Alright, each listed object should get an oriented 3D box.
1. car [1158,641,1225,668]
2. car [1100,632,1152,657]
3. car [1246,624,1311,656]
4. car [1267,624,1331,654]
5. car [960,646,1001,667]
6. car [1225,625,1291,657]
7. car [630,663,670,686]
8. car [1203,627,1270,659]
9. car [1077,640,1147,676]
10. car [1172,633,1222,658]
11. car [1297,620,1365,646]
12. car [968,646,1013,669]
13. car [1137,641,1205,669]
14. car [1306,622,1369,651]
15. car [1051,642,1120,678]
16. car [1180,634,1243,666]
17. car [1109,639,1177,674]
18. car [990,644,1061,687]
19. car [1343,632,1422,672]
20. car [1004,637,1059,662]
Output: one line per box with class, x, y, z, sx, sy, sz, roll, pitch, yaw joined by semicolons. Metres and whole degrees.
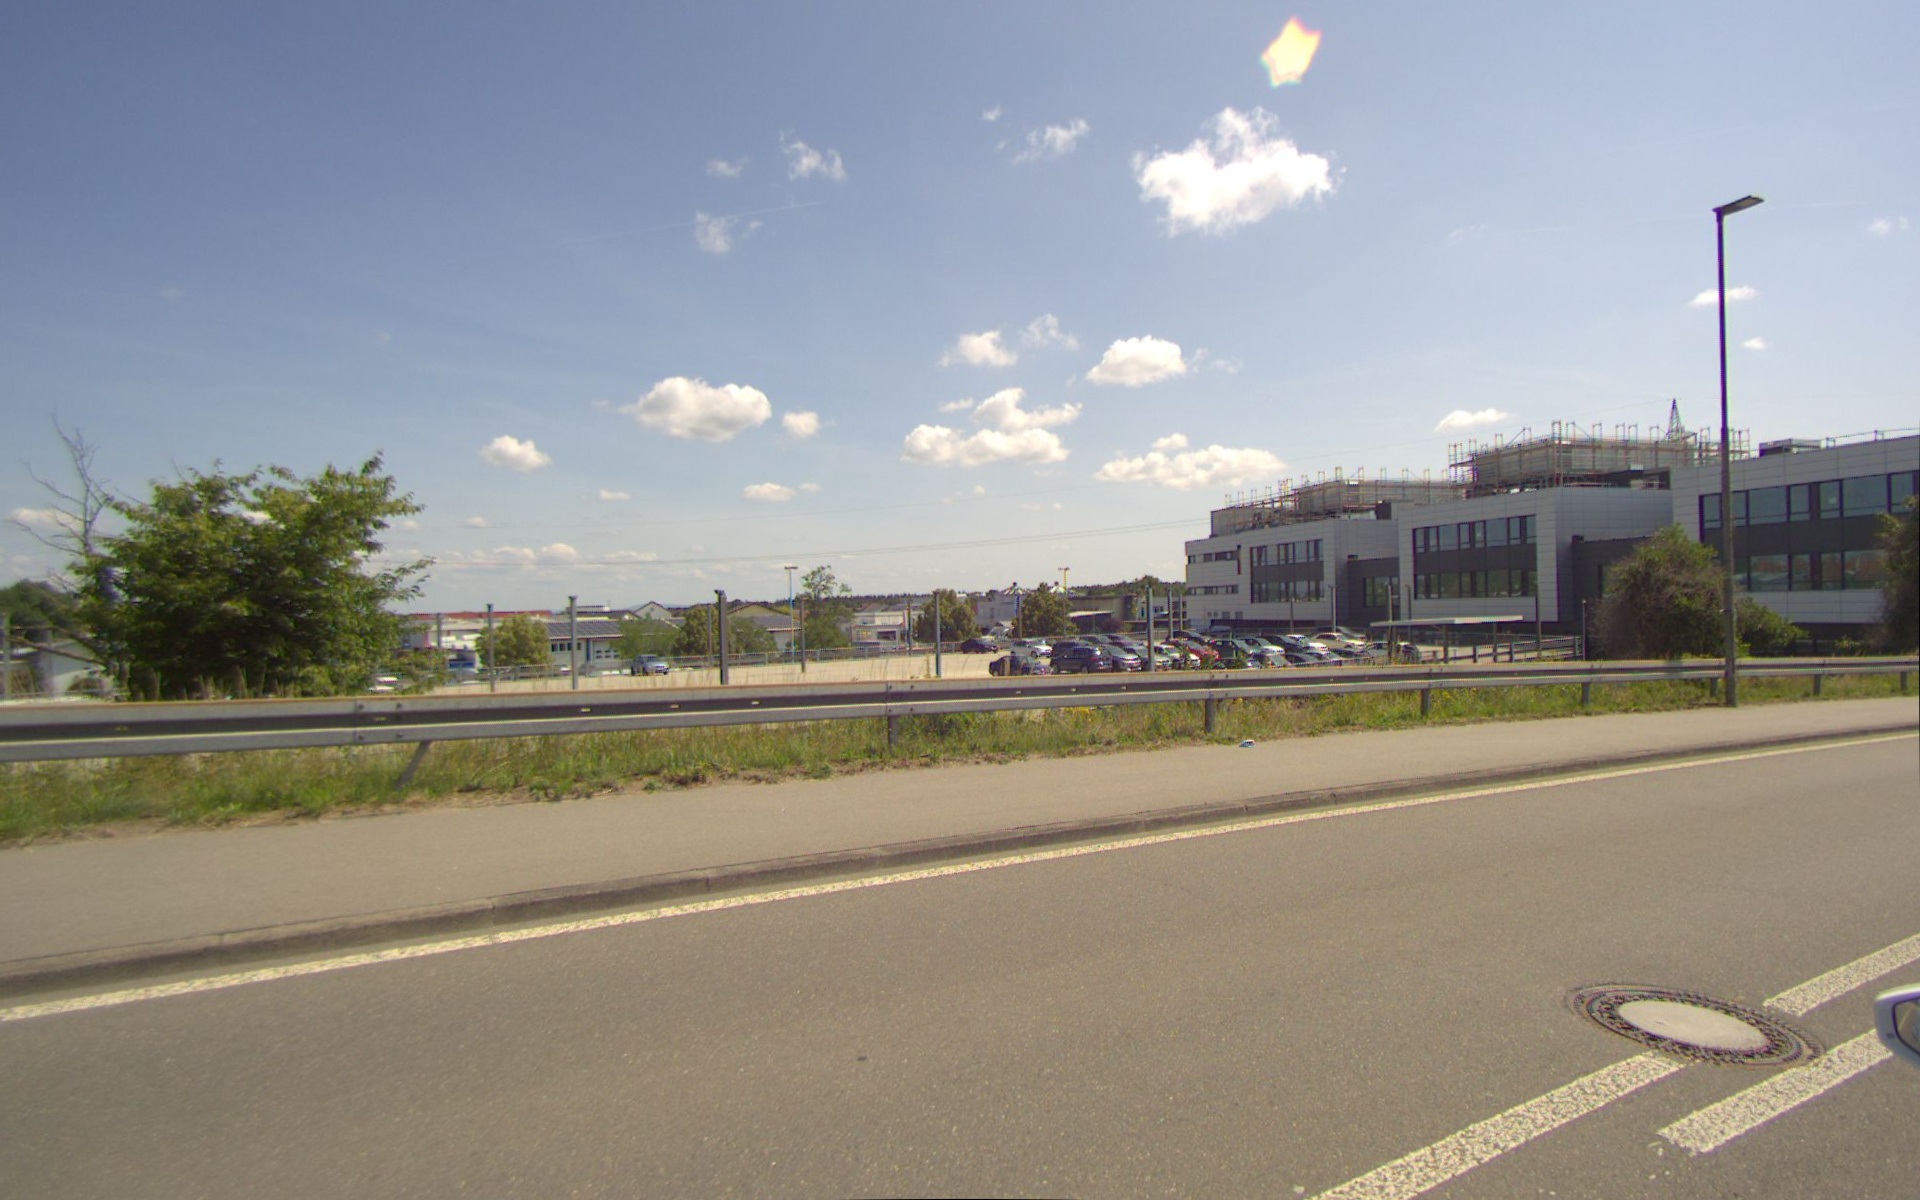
car;14.947;3.518;65.059;1.979;1.731;3.965;1;-3;-33
car;13.844;3.709;83.749;1.983;2.040;3.956;1;-2;-39
car;22.610;2.799;71.354;1.983;2.040;3.955;-2;1;-39
car;24.549;2.791;72.789;1.983;2.040;3.955;-2;1;-39
car;1.907;5.324;94.888;1.847;1.865;3.961;1;-2;-35
car;20.733;2.808;69.965;1.983;2.040;3.955;-2;1;-39
car;-23.036;5.511;74.639;1.677;1.409;3.773;-2;1;-36
car;18.797;2.895;68.365;1.983;1.929;3.955;-2;1;-39
car;9.133;3.467;60.643;1.978;2.040;3.965;-1;-2;-33
car;21.090;4.061;89.585;1.983;2.040;3.955;1;0;-39
car;31.076;2.747;84.284;1.983;2.040;5.028;-2;1;-39
car;2.595;4.932;86.732;1.847;1.865;3.961;1;-2;-35
car;13.271;3.466;63.323;1.979;1.706;3.965;1;-3;-33
car;28.534;2.739;76.000;1.983;2.040;3.955;-2;1;-39
car;7.352;3.505;59.078;1.979;2.040;3.965;1;-3;-33
car;16.652;3.298;66.719;1.973;1.839;3.974;-2;1;-26
car;11.233;3.455;61.801;1.979;2.040;3.965;1;-3;-33
car;3.600;3.608;56.007;1.977;2.041;3.966;-3;1;-32
car;25.176;3.055;59.935;1.943;2.041;3.956;-2;2;-38
car;5.512;3.825;77.774;1.985;1.861;3.952;2;-4;-42
